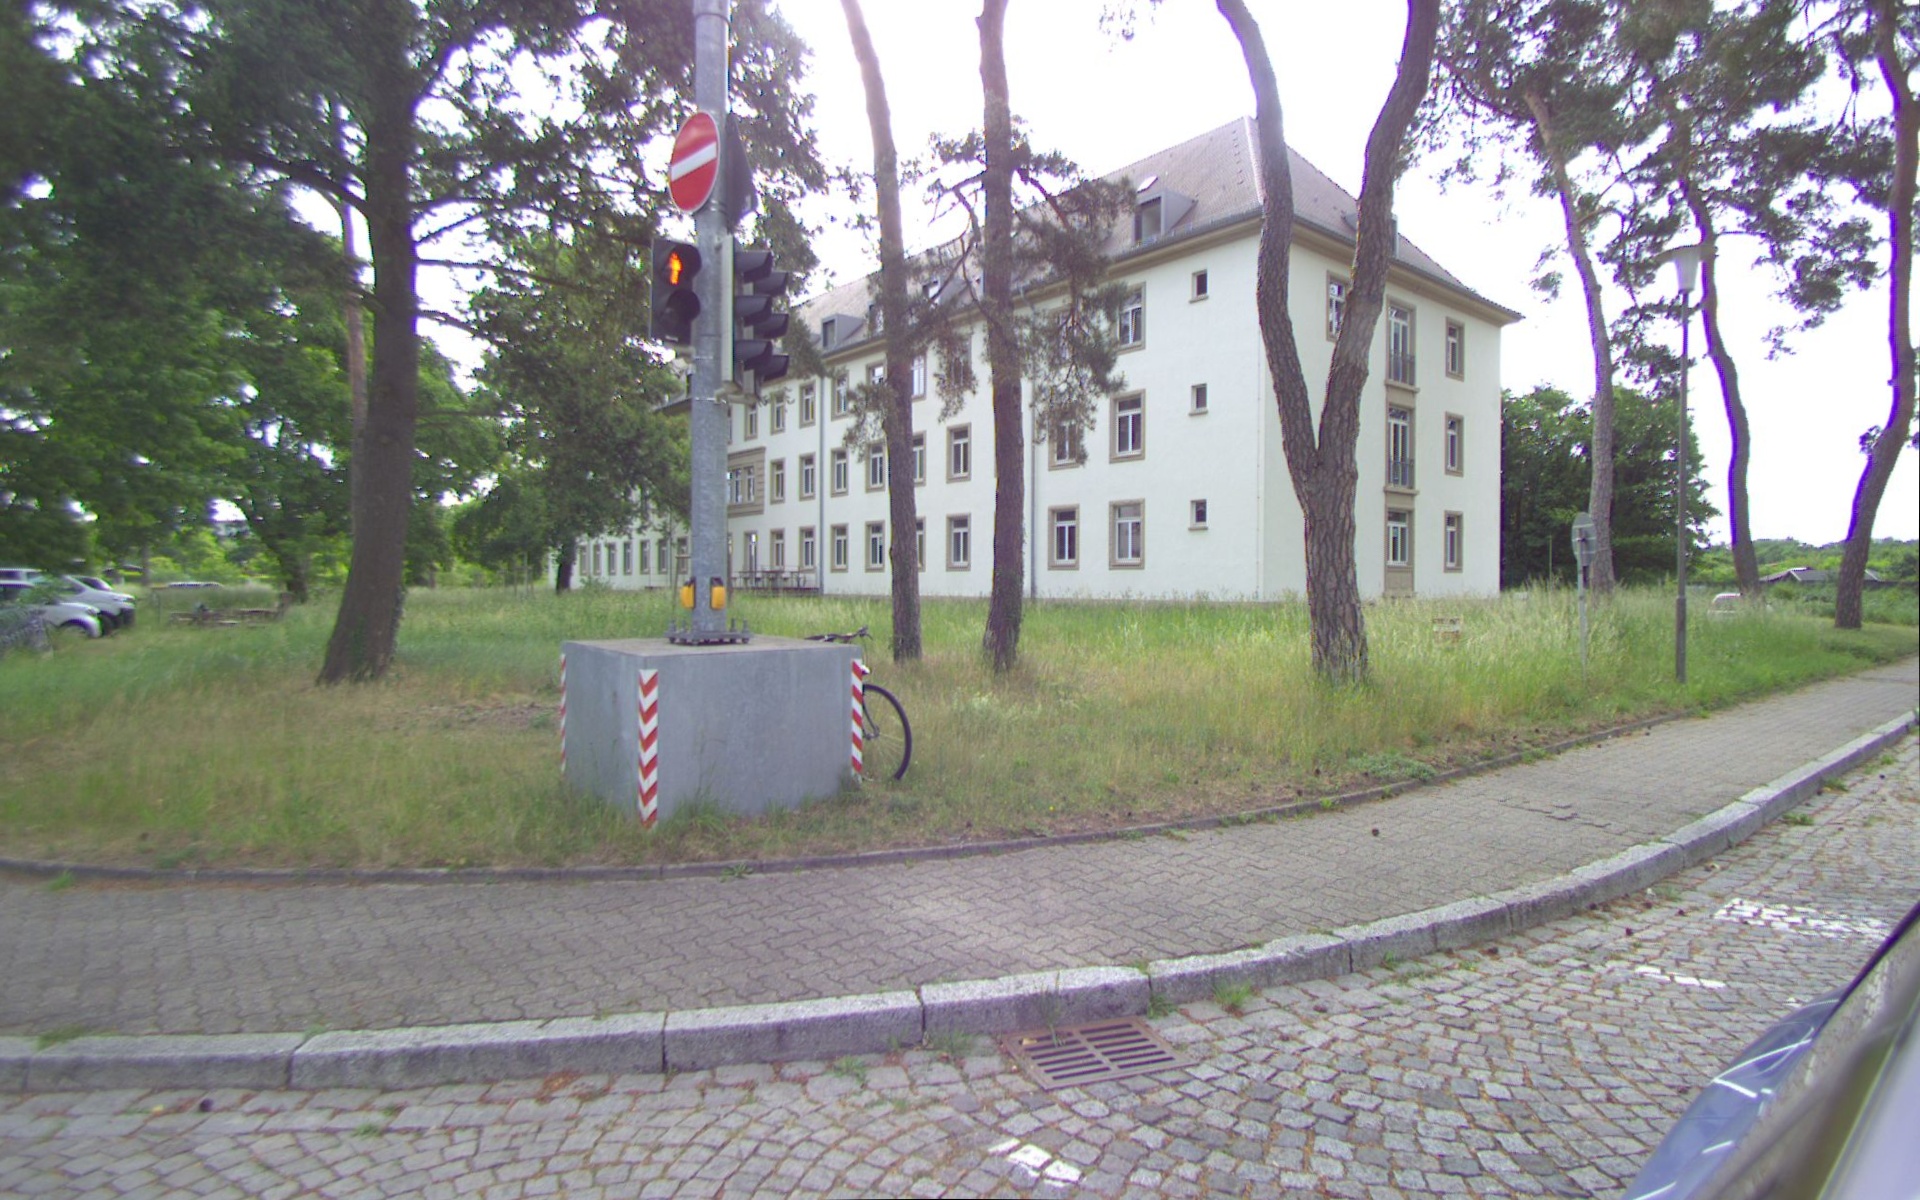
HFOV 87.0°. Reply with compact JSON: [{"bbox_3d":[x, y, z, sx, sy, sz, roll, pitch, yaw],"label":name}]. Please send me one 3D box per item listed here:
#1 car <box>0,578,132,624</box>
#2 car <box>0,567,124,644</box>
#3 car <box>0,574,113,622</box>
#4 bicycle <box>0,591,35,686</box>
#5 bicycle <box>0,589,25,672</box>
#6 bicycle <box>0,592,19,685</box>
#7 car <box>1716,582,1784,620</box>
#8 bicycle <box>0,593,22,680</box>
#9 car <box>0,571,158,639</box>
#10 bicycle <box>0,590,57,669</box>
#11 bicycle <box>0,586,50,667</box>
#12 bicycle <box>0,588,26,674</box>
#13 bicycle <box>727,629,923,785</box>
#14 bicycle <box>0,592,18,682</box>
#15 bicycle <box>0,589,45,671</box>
[{"bbox_3d":[-33.444,0.001,37.366,4.436,1.638,1.998,-1,1,-39],"label":"car"},{"bbox_3d":[-25.035,0.136,26.238,2.225,1.934,4.802,0,1,35],"label":"car"},{"bbox_3d":[-36.001,-0.092,39.398,4.612,1.795,1.998,-1,1,-39],"label":"car"},{"bbox_3d":[-14.214,0.552,14.032,2.008,1.336,0.439,-1,0,-35],"label":"bicycle"},{"bbox_3d":[-16.139,0.492,16.011,1.901,1.336,0.555,-1,0,-35],"label":"bicycle"},{"bbox_3d":[-14.717,0.559,14.353,1.938,1.336,0.578,-1,0,-35],"label":"bicycle"},{"bbox_3d":[33.364,0.015,42.722,3.221,1.451,1.640,-4,3,-39],"label":"car"},{"bbox_3d":[-15.367,0.565,15.168,1.882,1.336,0.393,-1,0,-35],"label":"bicycle"},{"bbox_3d":[-21.899,0.095,24.499,3.860,1.549,1.861,-1,1,-38],"label":"car"},{"bbox_3d":[-16.666,0.499,17.052,2.091,1.336,0.556,-1,0,-35],"label":"bicycle"},{"bbox_3d":[-17.204,0.460,17.530,2.062,1.384,0.760,0,1,-35],"label":"bicycle"},{"bbox_3d":[-15.679,0.490,15.601,1.817,1.336,0.557,-1,0,-35],"label":"bicycle"},{"bbox_3d":[-0.993,0.685,7.067,0.562,0.885,1.704,0,1,-39],"label":"bicycle"},{"bbox_3d":[-15.105,0.564,14.799,1.883,1.336,0.507,-1,0,-35],"label":"bicycle"},{"bbox_3d":[-16.359,0.496,16.566,1.977,1.336,0.542,-1,0,-35],"label":"bicycle"}]
